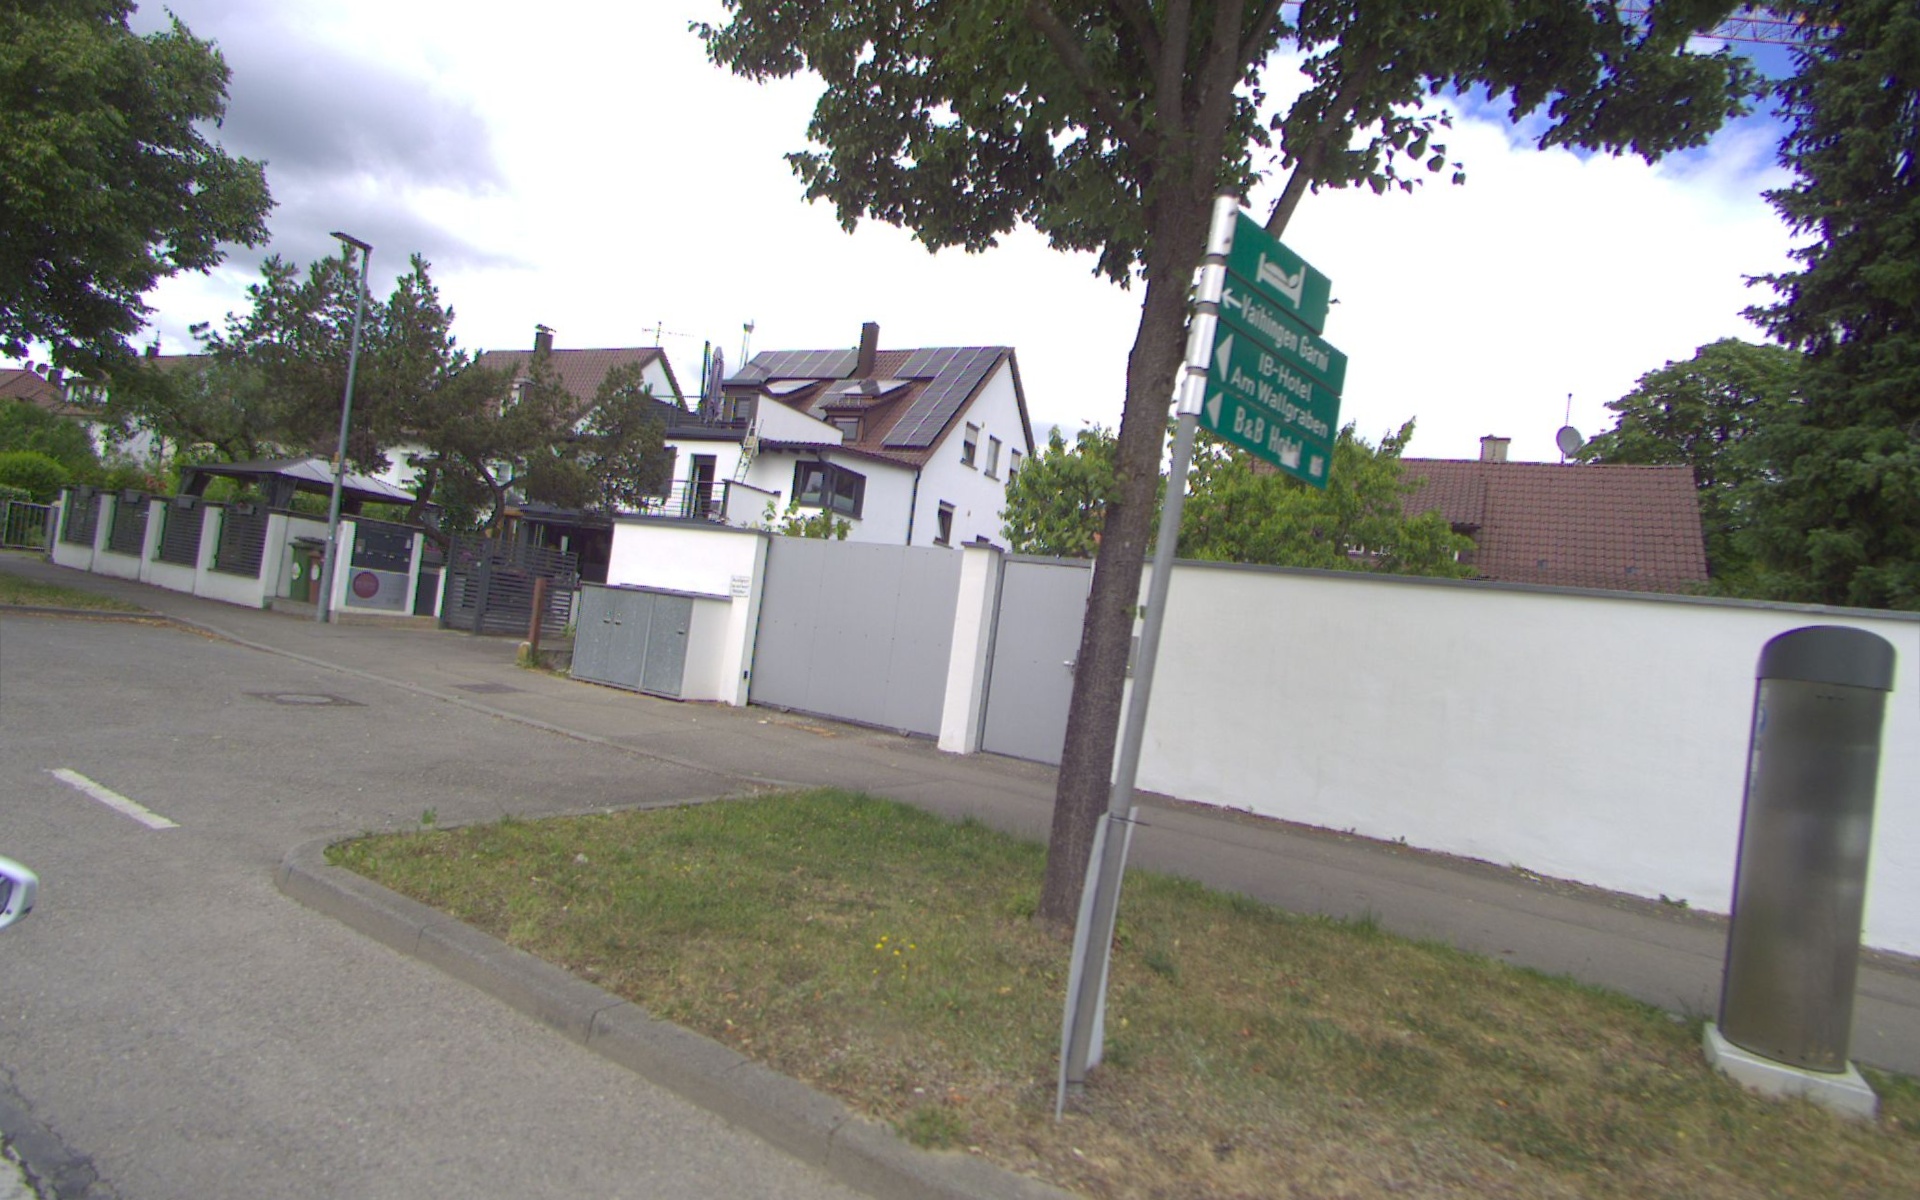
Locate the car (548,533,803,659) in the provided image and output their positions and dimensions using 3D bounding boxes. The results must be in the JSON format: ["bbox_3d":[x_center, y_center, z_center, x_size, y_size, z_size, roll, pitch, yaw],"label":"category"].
[{"bbox_3d":[-5.589,0.038,20.619,2.012,1.925,5.202,6,-2,24],"label":"car"}]

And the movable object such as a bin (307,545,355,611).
[{"bbox_3d":[-10.596,-0.366,16.950,0.447,1.034,0.437,7,0,32],"label":"movable object such as a bin"}]

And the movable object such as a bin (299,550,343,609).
[{"bbox_3d":[-11.018,-0.350,17.345,0.389,0.931,0.437,7,0,32],"label":"movable object such as a bin"}]

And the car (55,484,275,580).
[{"bbox_3d":[-21.030,-1.751,26.787,1.966,1.844,3.997,7,-2,29],"label":"car"}]

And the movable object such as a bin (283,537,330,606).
[{"bbox_3d":[-11.450,-0.494,17.617,0.447,1.123,0.437,7,0,32],"label":"movable object such as a bin"}]
